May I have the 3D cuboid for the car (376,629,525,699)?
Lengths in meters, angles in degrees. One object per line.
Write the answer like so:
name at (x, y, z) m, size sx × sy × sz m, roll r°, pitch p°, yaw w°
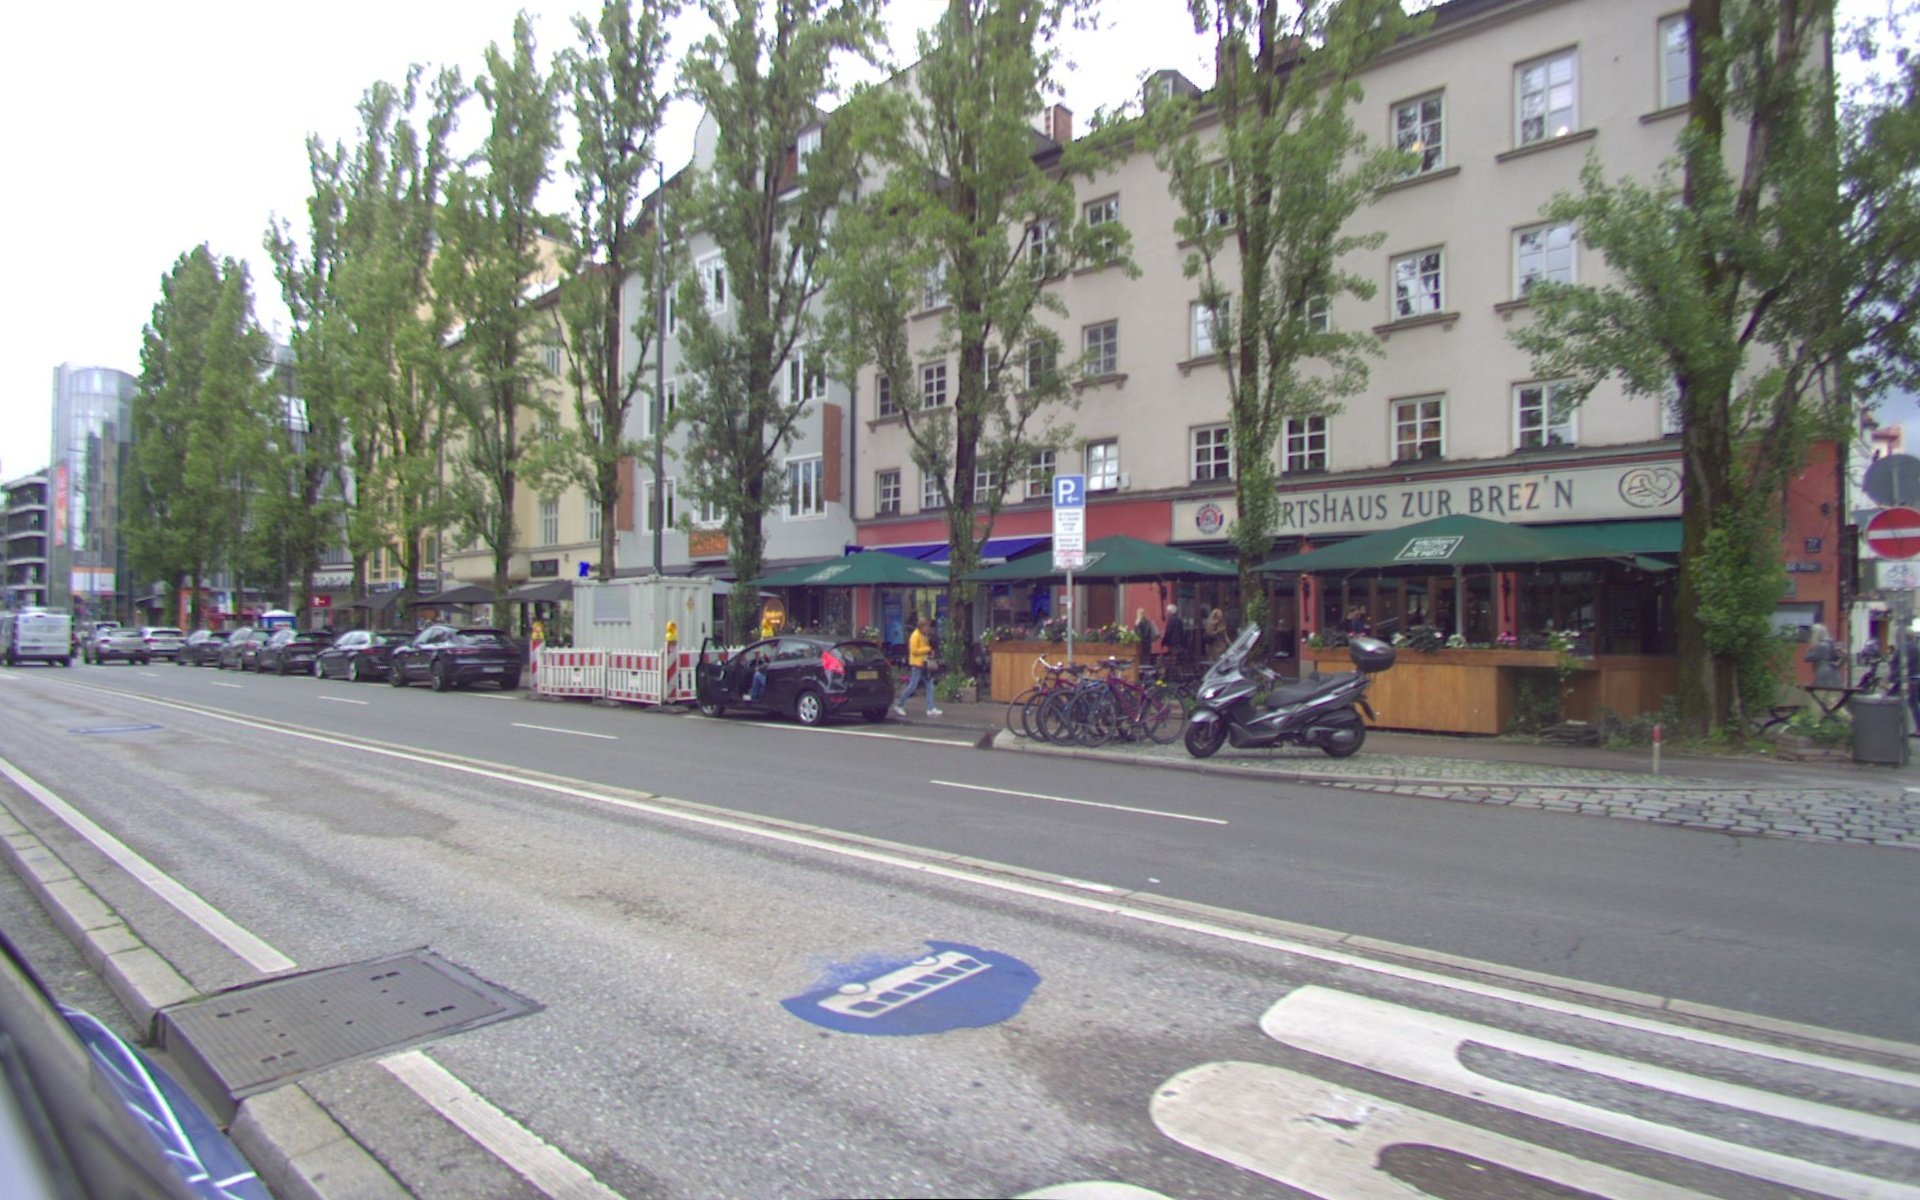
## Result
car at (-13.032, 1.566, 25.766) m, size 4.572 × 1.625 × 1.778 m, roll -2°, pitch -3°, yaw 41°

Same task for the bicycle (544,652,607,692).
bicycle at (-10.014, 1.851, 26.307) m, size 2.173 × 0.976 × 0.605 m, roll -2°, pitch -2°, yaw 41°

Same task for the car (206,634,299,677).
car at (-26.343, 2.033, 37.634) m, size 4.572 × 1.515 × 1.778 m, roll -2°, pitch -3°, yaw 41°

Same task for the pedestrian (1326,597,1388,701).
pedestrian at (7.625, 0.930, 19.450) m, size 0.905 × 1.941 × 0.690 m, roll -2°, pitch -3°, yaw 44°

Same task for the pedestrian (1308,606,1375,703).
pedestrian at (7.064, 0.991, 18.729) m, size 0.950 × 1.735 × 0.690 m, roll -2°, pitch -3°, yaw 44°

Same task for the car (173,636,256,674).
car at (-30.474, 2.209, 41.310) m, size 4.572 × 1.451 × 1.778 m, roll -2°, pitch -3°, yaw 41°

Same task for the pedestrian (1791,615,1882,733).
pedestrian at (12.861, 1.058, 14.860) m, size 0.689 × 1.659 × 0.930 m, roll 2°, pitch -3°, yaw -44°

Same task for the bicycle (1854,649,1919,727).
bicycle at (15.835, 1.459, 17.334) m, size 0.645 × 1.214 × 2.317 m, roll -2°, pitch -3°, yaw 39°

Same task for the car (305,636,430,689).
car at (-17.440, 1.780, 29.704) m, size 4.572 × 1.451 × 1.778 m, roll -2°, pitch -3°, yaw 41°

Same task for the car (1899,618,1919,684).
car at (36.874, 1.942, 38.157) m, size 1.982 × 2.384 × 4.523 m, roll -2°, pitch -4°, yaw 41°

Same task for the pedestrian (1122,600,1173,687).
pedestrian at (4.260, 0.981, 23.025) m, size 0.905 × 1.941 × 0.690 m, roll -2°, pitch -3°, yaw 44°

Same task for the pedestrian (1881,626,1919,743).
pedestrian at (14.043, 1.216, 14.681) m, size 0.689 × 1.659 × 0.930 m, roll 2°, pitch -3°, yaw -44°

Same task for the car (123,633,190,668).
car at (-38.398, 2.371, 48.324) m, size 4.102 × 1.590 × 1.778 m, roll -2°, pitch -3°, yaw 41°

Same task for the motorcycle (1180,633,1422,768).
motorcycle at (3.732, 1.082, 11.280) m, size 2.426 × 1.425 × 0.744 m, roll 0°, pitch -2°, yaw 8°

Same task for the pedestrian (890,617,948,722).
pedestrian at (-0.698, 1.174, 17.270) m, size 0.731 × 1.739 × 0.691 m, roll -2°, pitch -3°, yaw 38°

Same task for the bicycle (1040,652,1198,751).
bicycle at (1.976, 1.242, 12.538) m, size 1.949 × 1.134 × 0.283 m, roll -1°, pitch 0°, yaw -12°

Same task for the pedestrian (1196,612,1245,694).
pedestrian at (5.346, 1.083, 20.759) m, size 0.732 × 1.636 × 0.690 m, roll -2°, pitch -3°, yaw 44°

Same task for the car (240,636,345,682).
car at (-22.449, 1.943, 33.996) m, size 4.572 × 1.451 × 1.778 m, roll -2°, pitch -3°, yaw 41°

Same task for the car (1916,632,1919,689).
car at (29.898, 1.819, 29.889) m, size 2.116 × 1.780 × 4.525 m, roll -2°, pitch -4°, yaw 40°

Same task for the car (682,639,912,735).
car at (-2.815, 1.396, 17.173) m, size 3.779 × 1.433 × 1.739 m, roll -1°, pitch -3°, yaw 38°

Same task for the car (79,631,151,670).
car at (-35.612, 2.120, 42.624) m, size 4.075 × 1.553 × 1.695 m, roll -2°, pitch -4°, yaw 41°

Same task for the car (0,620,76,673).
car at (-36.003, 1.775, 39.151) m, size 5.067 × 1.947 × 1.873 m, roll -2°, pitch -3°, yaw 40°

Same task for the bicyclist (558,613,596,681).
bicyclist at (-9.936, 1.215, 26.259) m, size 0.816 × 1.718 × 0.598 m, roll -1°, pitch -2°, yaw 42°

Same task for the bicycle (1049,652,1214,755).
bicycle at (2.072, 1.234, 12.210) m, size 1.949 × 1.134 × 0.362 m, roll -1°, pitch 0°, yaw -12°

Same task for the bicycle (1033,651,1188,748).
bicycle at (1.915, 1.243, 12.816) m, size 1.949 × 1.134 × 0.283 m, roll -1°, pitch 0°, yaw -12°

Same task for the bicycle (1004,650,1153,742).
bicycle at (1.585, 1.261, 13.497) m, size 1.949 × 1.134 × 0.343 m, roll -1°, pitch 0°, yaw -12°
